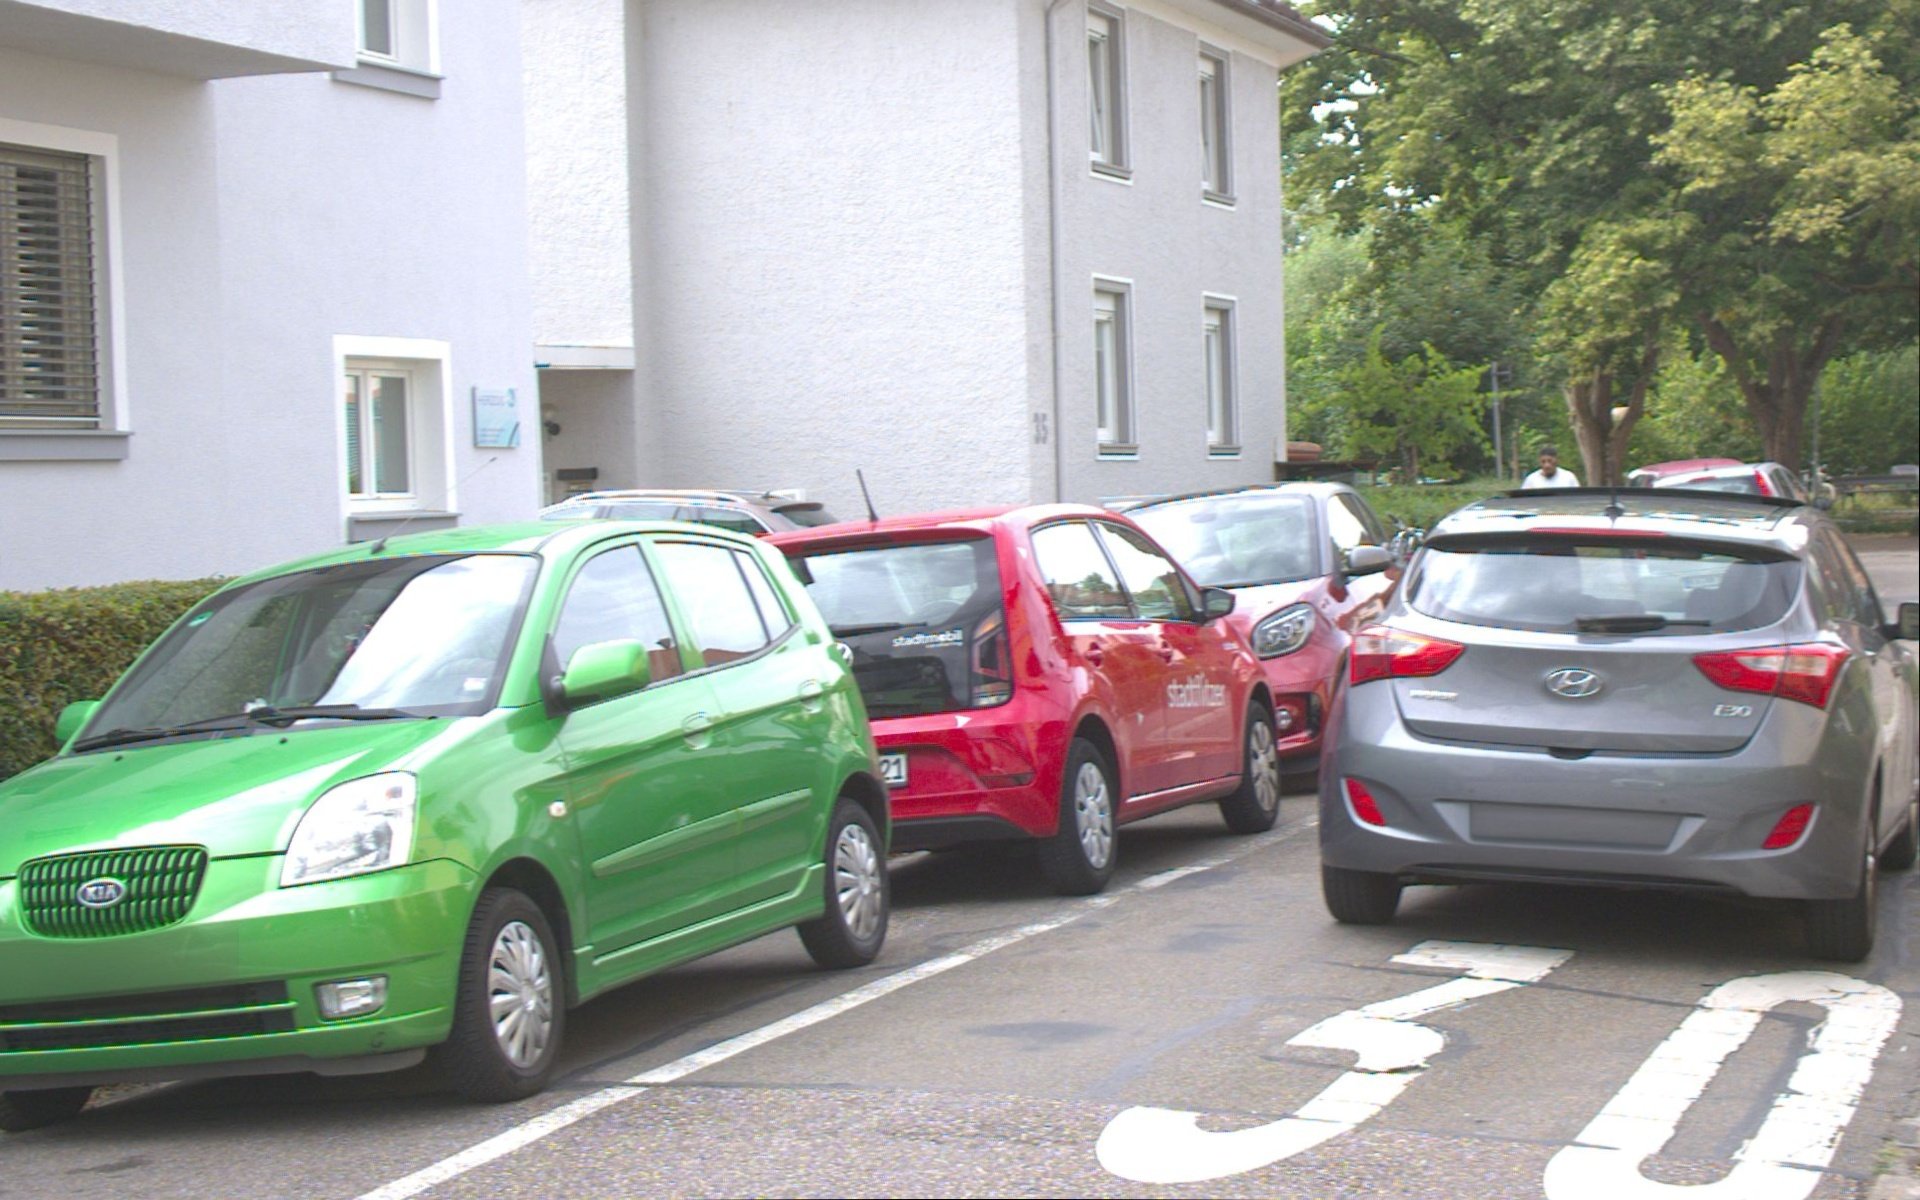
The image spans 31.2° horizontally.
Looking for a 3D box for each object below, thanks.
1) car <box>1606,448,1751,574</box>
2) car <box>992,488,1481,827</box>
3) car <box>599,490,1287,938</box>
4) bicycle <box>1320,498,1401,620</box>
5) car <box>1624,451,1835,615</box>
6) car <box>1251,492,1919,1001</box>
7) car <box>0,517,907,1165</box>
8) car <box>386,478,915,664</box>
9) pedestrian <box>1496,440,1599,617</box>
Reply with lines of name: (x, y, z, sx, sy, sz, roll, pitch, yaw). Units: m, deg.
car: (9.592, -1.188, 46.089, 1.646, 1.490, 3.480, -5, 1, 9)
car: (1.551, 0.234, 18.081, 1.647, 1.490, 3.478, -4, 1, 19)
car: (0.069, 0.375, 14.038, 1.647, 1.490, 3.478, -4, 1, 19)
bicycle: (3.860, -0.412, 33.012, 0.422, 1.099, 2.114, -1, 2, 16)
car: (7.978, -0.721, 35.441, 1.647, 1.490, 3.478, -4, 1, 19)
car: (2.466, 0.372, 12.521, 1.850, 1.475, 4.038, 1, 3, 19)
car: (-1.567, 0.564, 9.796, 1.647, 1.417, 3.478, -4, 1, 19)
car: (-2.619, -0.253, 29.334, 3.991, 1.459, 1.998, -1, 2, 21)
pedestrian: (6.380, -0.786, 37.288, 0.882, 1.872, 1.078, -1, 2, 20)
